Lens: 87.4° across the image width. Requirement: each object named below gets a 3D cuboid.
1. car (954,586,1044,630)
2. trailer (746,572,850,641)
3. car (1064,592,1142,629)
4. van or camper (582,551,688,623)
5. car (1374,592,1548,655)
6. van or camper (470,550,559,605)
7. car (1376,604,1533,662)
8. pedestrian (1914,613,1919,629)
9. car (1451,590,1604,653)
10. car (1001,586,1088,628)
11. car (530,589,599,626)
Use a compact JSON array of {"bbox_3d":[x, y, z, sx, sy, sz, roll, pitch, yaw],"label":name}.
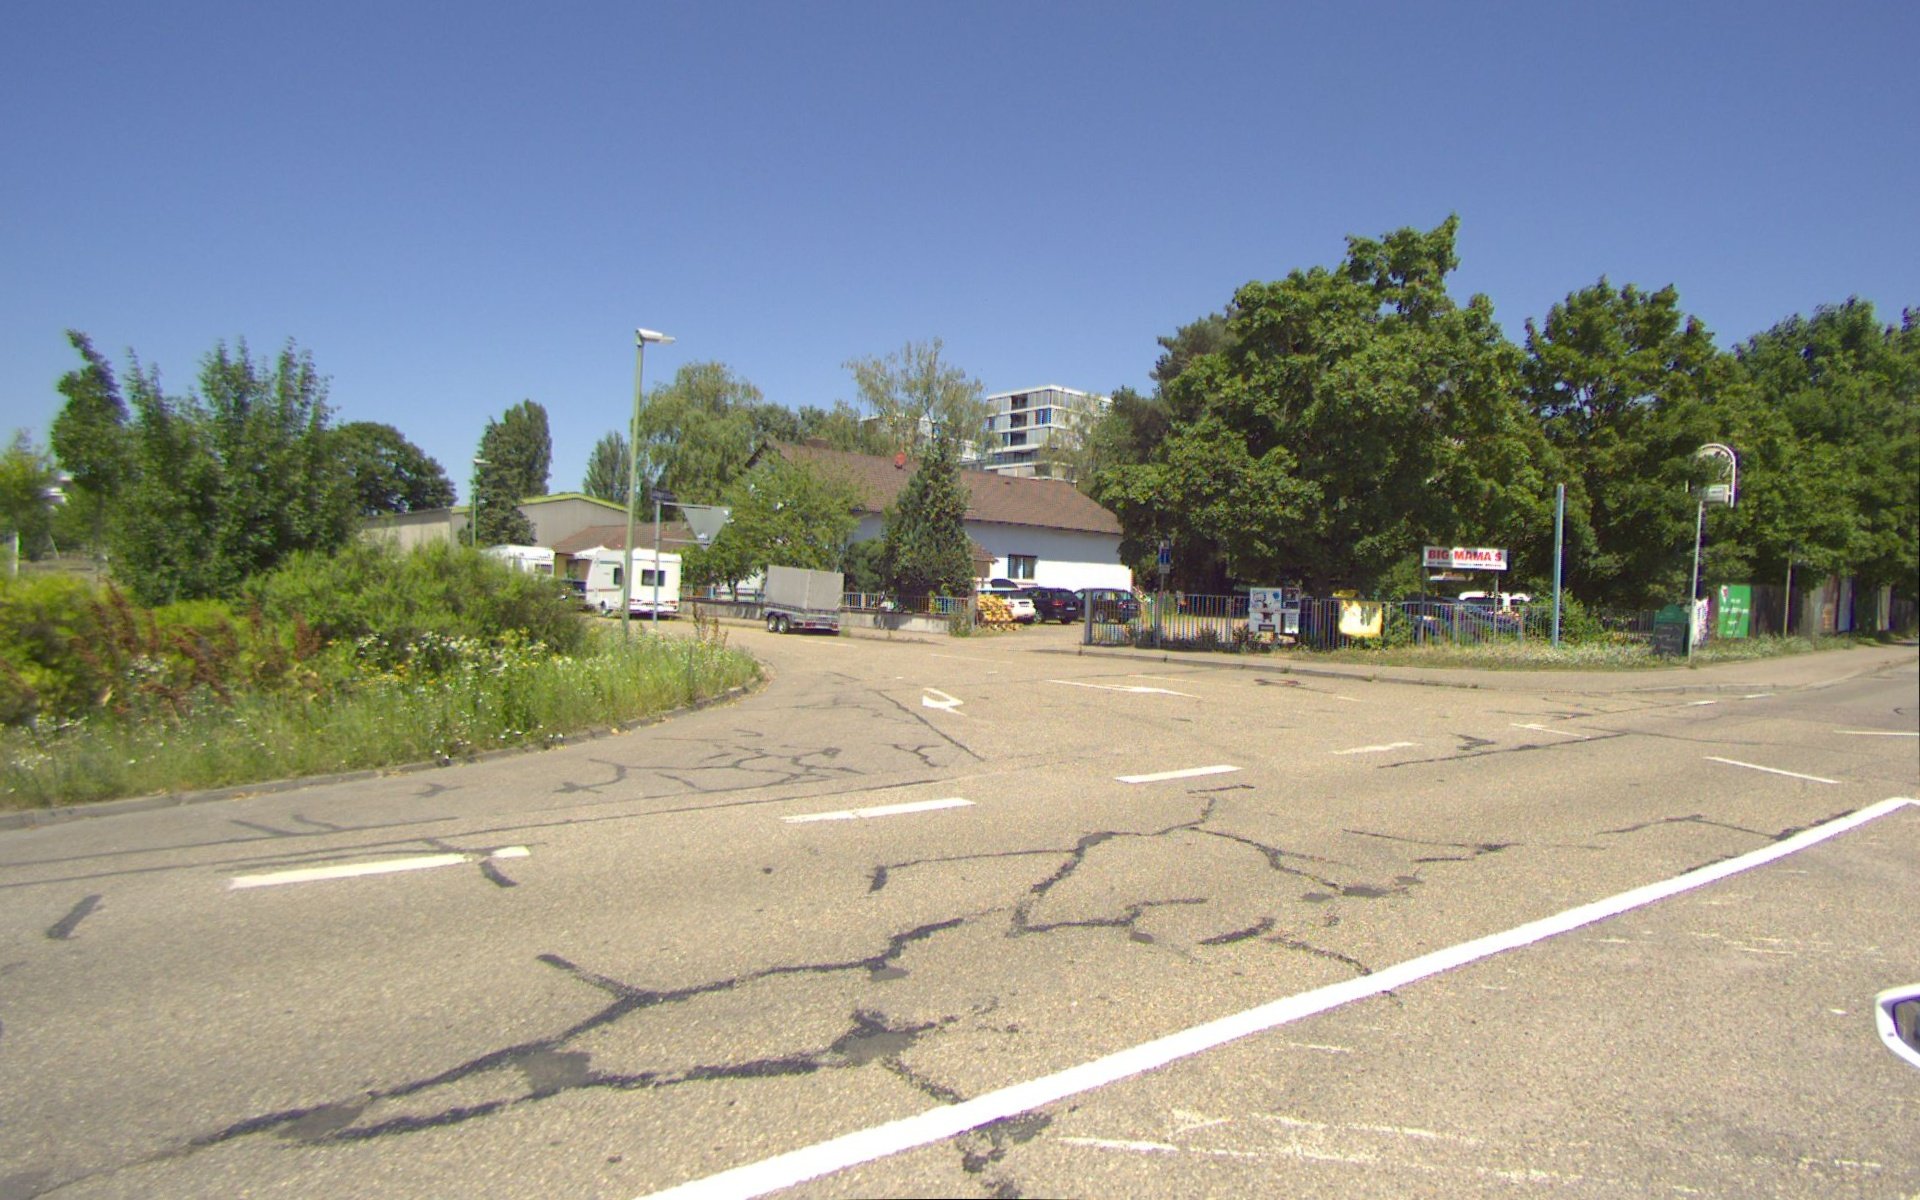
[{"bbox_3d":[1.495,0.301,39.433,1.758,1.598,3.306,1,1,-39],"label":"car"},{"bbox_3d":[-5.218,0.166,32.082,1.747,2.073,3.384,1,1,-41],"label":"trailer"},{"bbox_3d":[6.162,0.434,43.402,1.531,1.466,3.106,1,1,-39],"label":"car"},{"bbox_3d":[-13.127,-0.550,40.425,2.473,2.626,4.412,1,3,-41],"label":"van or camper"},{"bbox_3d":[16.498,0.705,33.337,1.979,1.865,4.792,1,1,-34],"label":"car"},{"bbox_3d":[-22.767,-1.143,51.177,2.454,2.628,5.895,1,1,-42],"label":"van or camper"},{"bbox_3d":[14.833,0.942,30.249,1.795,1.546,3.830,1,1,-39],"label":"car"},{"bbox_3d":[88.365,1.941,92.428,0.714,1.474,0.813,2,1,43],"label":"pedestrian"},{"bbox_3d":[19.681,0.701,34.980,1.768,2.003,4.270,1,1,-39],"label":"car"},{"bbox_3d":[3.412,0.262,40.949,1.758,1.586,3.306,1,1,-39],"label":"car"},{"bbox_3d":[-18.287,0.338,46.352,1.899,1.573,3.955,1,1,-39],"label":"car"}]
